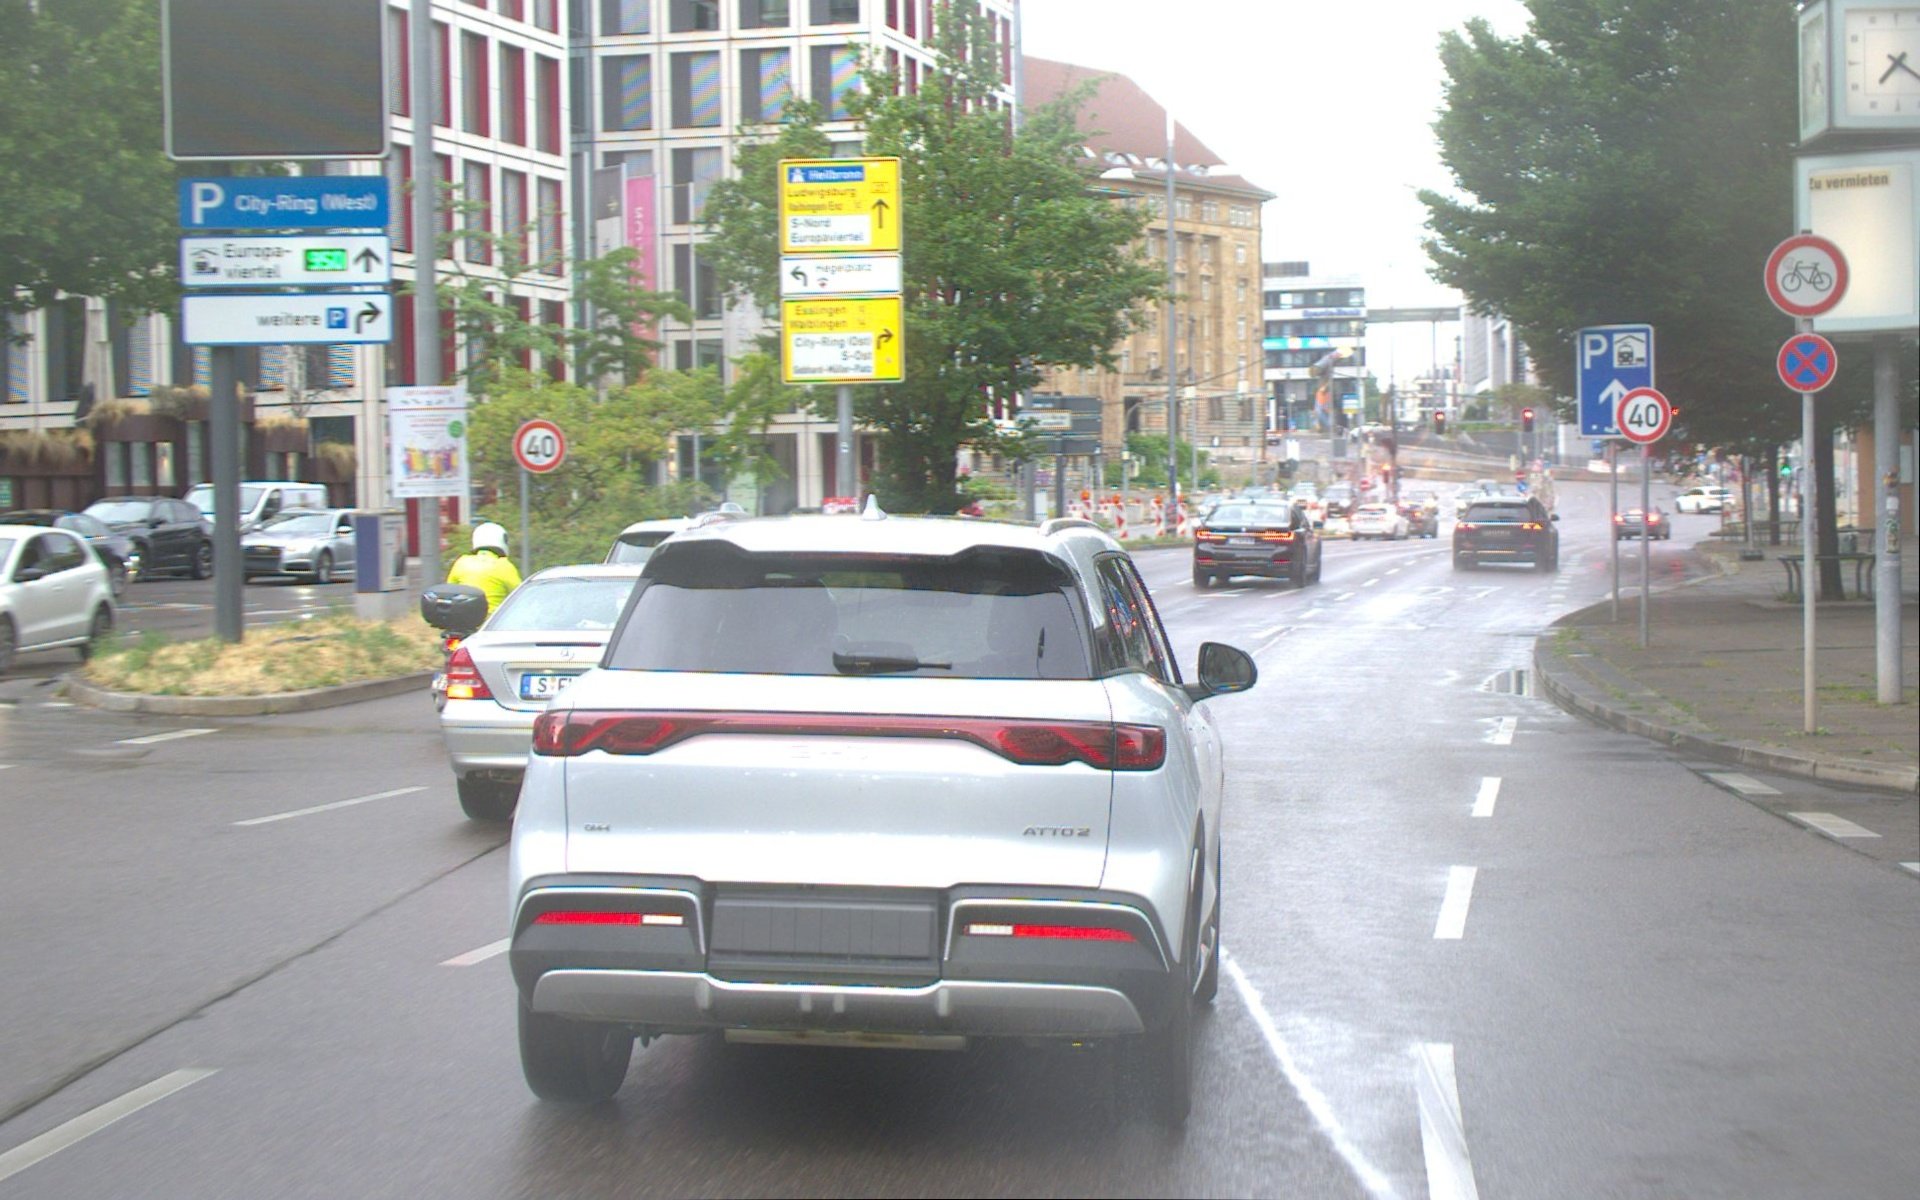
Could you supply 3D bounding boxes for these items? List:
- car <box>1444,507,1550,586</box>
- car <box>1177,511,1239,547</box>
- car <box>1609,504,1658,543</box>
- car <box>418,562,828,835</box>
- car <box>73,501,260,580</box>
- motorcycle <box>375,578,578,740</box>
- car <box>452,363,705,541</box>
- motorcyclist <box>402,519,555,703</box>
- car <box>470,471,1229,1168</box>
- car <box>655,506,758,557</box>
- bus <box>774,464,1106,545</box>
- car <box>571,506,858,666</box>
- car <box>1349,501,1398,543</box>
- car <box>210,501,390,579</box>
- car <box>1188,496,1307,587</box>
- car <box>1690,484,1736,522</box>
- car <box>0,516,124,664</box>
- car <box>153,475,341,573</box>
[{"bbox_3d":[10.690,-1.041,68.279,1.694,1.481,3.997,1,0,14],"label":"car"},{"bbox_3d":[10.335,-2.971,142.990,1.995,1.481,3.998,0,1,13],"label":"car"},{"bbox_3d":[27.435,-3.085,139.969,1.695,1.481,3.997,1,0,15],"label":"car"},{"bbox_3d":[-1.837,0.515,19.923,1.571,1.402,4.108,1,0,6],"label":"car"},{"bbox_3d":[-15.368,-1.167,66.788,1.995,1.483,3.998,0,1,13],"label":"car"},{"bbox_3d":[-3.673,0.438,26.315,0.800,1.180,2.027,1,0,15],"label":"motorcycle"},{"bbox_3d":[-4.718,-1.807,43.248,1.994,2.007,4.847,1,0,8],"label":"car"},{"bbox_3d":[-3.680,0.082,26.354,0.770,1.375,1.117,1,0,15],"label":"motorcyclist"},{"bbox_3d":[-0.123,0.532,10.382,1.776,1.673,3.999,1,0,6],"label":"car"},{"bbox_3d":[-7.534,-2.043,102.561,1.995,1.483,3.998,0,1,13],"label":"car"},{"bbox_3d":[-1.033,-5.066,181.942,16.973,4.049,4.435,1,0,12],"label":"bus"},{"bbox_3d":[-2.362,-0.128,34.151,1.708,1.481,3.997,1,0,13],"label":"car"},{"bbox_3d":[16.727,-3.145,139.008,1.888,1.637,3.999,0,1,8],"label":"car"},{"bbox_3d":[-12.864,-1.192,67.235,1.995,1.483,3.998,0,1,13],"label":"car"},{"bbox_3d":[4.974,-0.983,59.145,1.571,1.481,3.998,1,0,11],"label":"car"},{"bbox_3d":[42.021,-5.410,191.867,1.994,2.007,3.999,1,0,6],"label":"car"},{"bbox_3d":[-9.946,-0.123,34.526,1.632,1.432,3.906,0,1,9],"label":"car"},{"bbox_3d":[-14.981,-1.610,72.526,1.995,2.004,4.925,0,1,13],"label":"car"}]
